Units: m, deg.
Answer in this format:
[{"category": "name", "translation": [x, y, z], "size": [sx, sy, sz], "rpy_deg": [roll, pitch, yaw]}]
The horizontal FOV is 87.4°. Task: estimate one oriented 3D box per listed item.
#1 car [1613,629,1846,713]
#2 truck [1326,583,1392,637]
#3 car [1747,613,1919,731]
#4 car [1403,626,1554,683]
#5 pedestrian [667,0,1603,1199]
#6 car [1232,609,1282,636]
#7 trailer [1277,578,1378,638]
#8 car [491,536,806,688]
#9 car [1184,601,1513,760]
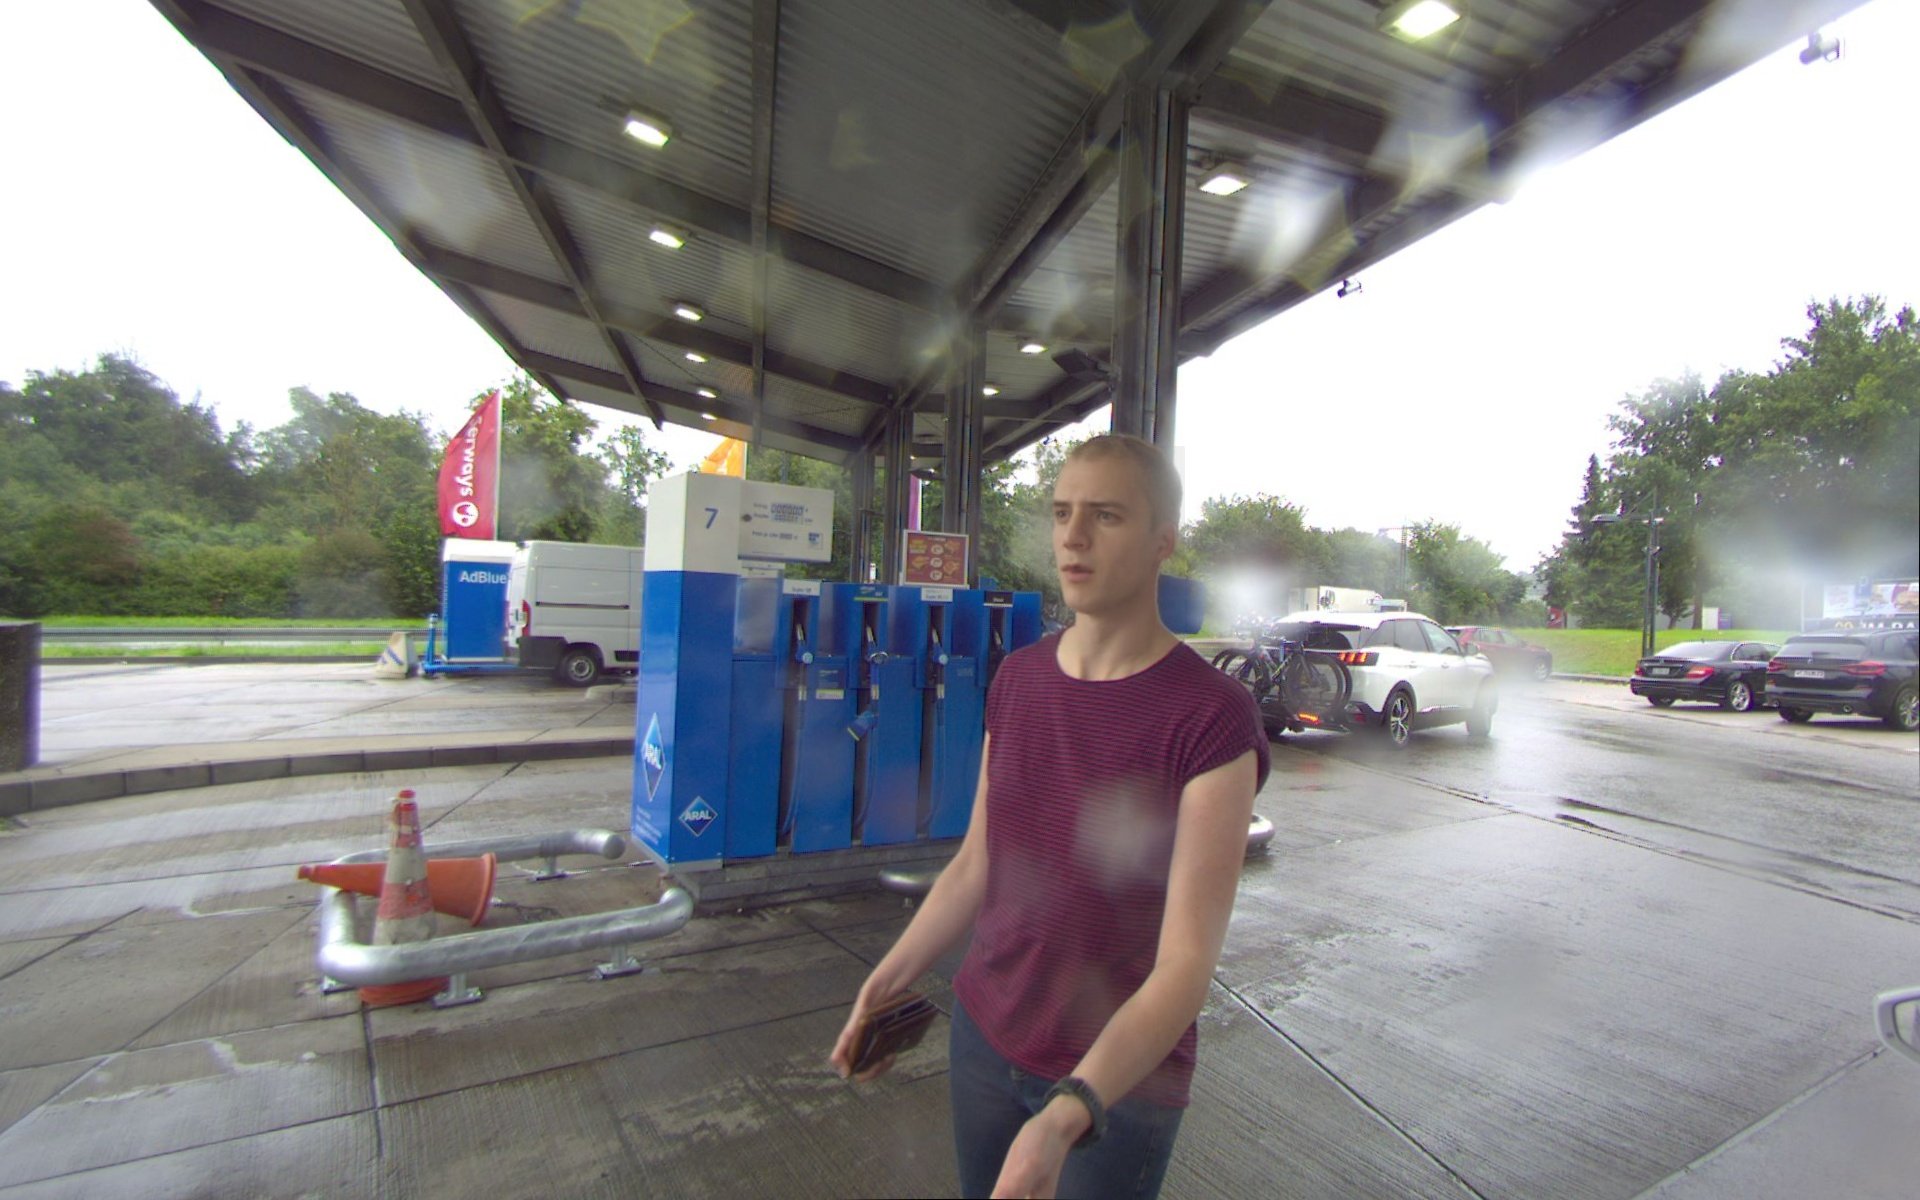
[{"category": "car", "translation": [15.921, 1.419, 20.824], "size": [4.119, 1.585, 1.883], "rpy_deg": [1, -1, -19]}, {"category": "truck", "translation": [35.560, 0.930, 89.462], "size": [3.416, 4.618, 6.704], "rpy_deg": [2, 0, 40]}, {"category": "car", "translation": [16.135, 1.190, 17.404], "size": [4.344, 1.852, 1.883], "rpy_deg": [1, -1, -19]}, {"category": "car", "translation": [15.983, 1.648, 30.970], "size": [4.294, 1.617, 1.879], "rpy_deg": [1, -1, -24]}, {"category": "pedestrian", "translation": [0.162, 0.410, 1.254], "size": [0.830, 1.757, 0.790], "rpy_deg": [2, -1, -31]}, {"category": "car", "translation": [20.953, 1.574, 70.804], "size": [1.903, 1.862, 4.373], "rpy_deg": [1, 0, 38]}, {"category": "trailer", "translation": [30.888, 0.759, 83.858], "size": [3.416, 4.618, 13.847], "rpy_deg": [2, 0, 40]}, {"category": "car", "translation": [-5.796, 0.268, 18.964], "size": [5.227, 2.496, 2.306], "rpy_deg": [1, -1, -34]}, {"category": "car", "translation": [5.009, 0.865, 12.527], "size": [4.967, 1.586, 1.797], "rpy_deg": [2, 0, -43]}]
